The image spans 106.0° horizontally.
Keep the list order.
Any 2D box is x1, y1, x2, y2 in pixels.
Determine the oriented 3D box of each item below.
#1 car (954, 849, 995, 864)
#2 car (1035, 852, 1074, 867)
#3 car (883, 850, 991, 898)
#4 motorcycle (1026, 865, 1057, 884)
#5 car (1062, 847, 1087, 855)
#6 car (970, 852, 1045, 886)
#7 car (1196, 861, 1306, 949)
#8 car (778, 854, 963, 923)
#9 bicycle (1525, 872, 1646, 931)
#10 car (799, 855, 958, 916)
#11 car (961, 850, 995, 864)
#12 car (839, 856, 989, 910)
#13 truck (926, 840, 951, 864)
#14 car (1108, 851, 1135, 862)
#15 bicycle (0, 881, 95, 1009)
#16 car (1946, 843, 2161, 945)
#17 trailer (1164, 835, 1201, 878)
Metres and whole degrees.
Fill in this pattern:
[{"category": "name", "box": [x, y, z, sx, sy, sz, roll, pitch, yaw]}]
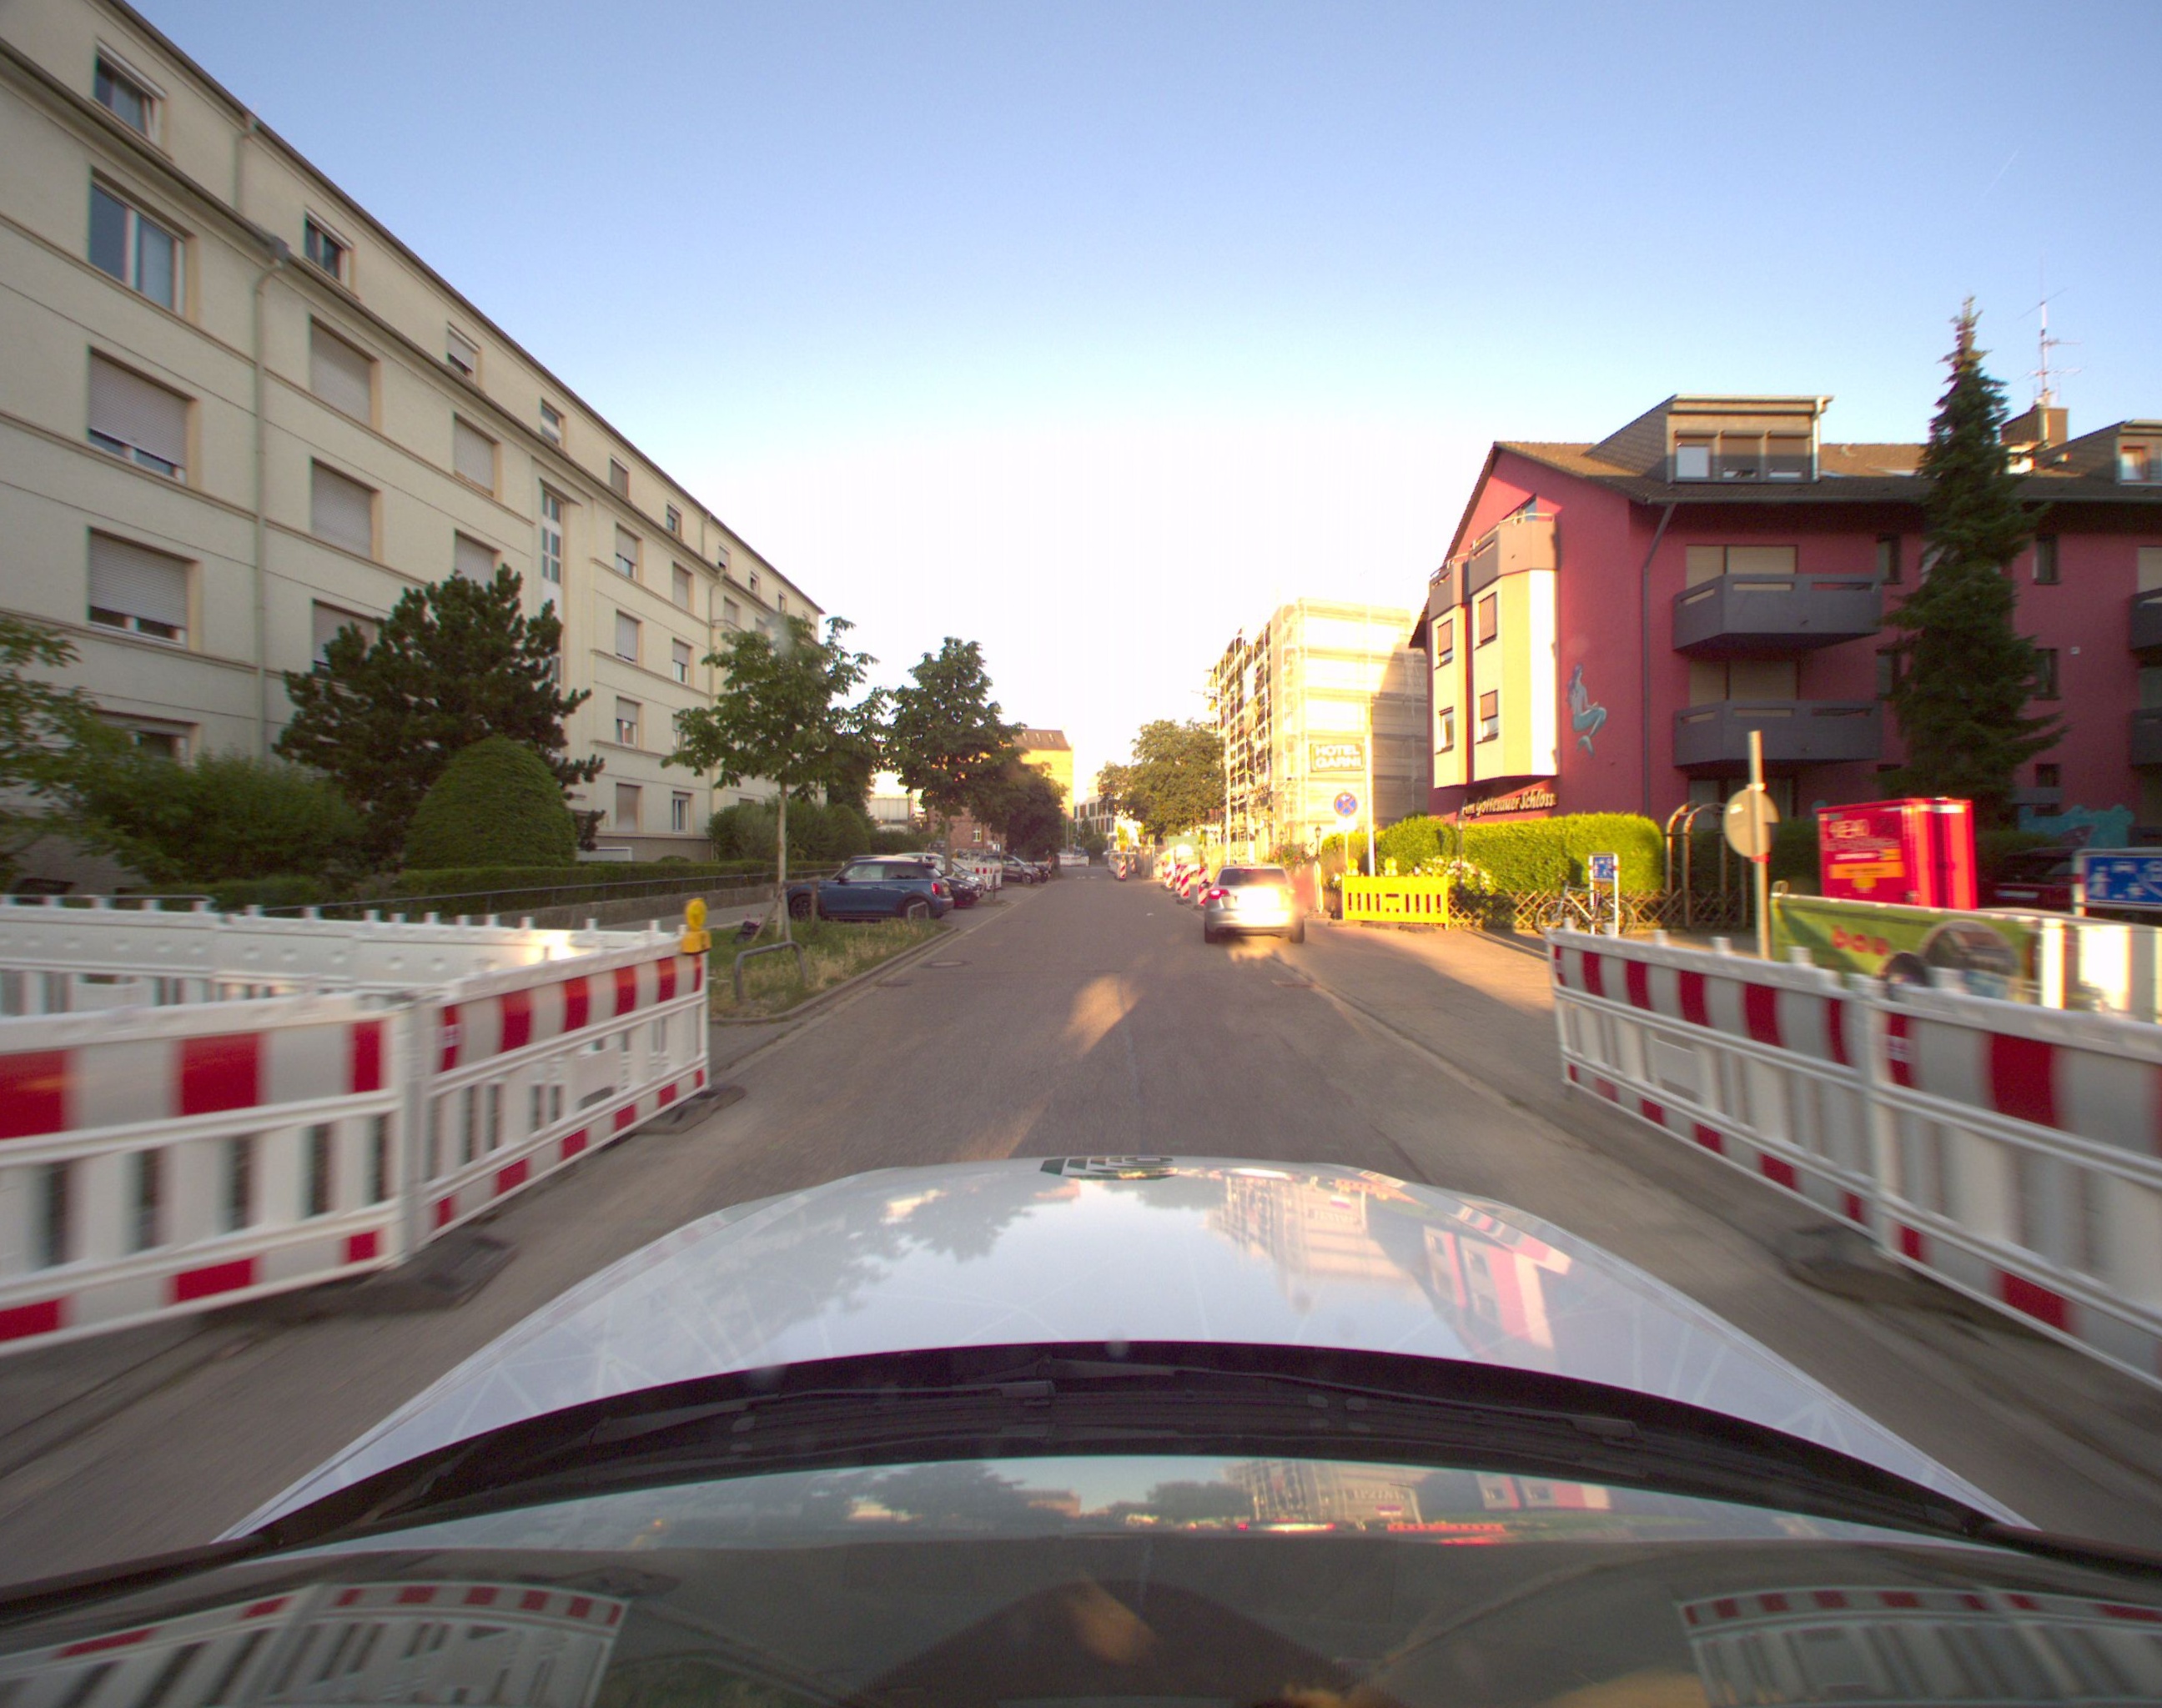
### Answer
[{"category": "car", "box": [-12.355, 0.306, 94.411, 4.592, 1.638, 1.567, -1, 0, -16]}, {"category": "car", "box": [-3.086, 0.626, 94.651, 4.280, 1.708, 1.692, -1, 0, -18]}, {"category": "car", "box": [-4.962, 0.682, 28.412, 3.465, 1.566, 1.726, 1, -1, -2]}, {"category": "motorcycle", "box": [-2.188, 1.118, 45.563, 0.532, 1.021, 2.225, 2, 0, 30]}, {"category": "car", "box": [-1.131, -0.582, 140.551, 3.997, 1.313, 1.866, -1, 0, -18]}, {"category": "car", "box": [-3.742, 0.752, 42.067, 3.611, 1.557, 1.693, 3, 0, 0]}, {"category": "car", "box": [3.368, 0.850, 15.555, 1.762, 1.397, 4.125, 0, 0, 16]}, {"category": "car", "box": [-4.709, 0.770, 18.570, 3.662, 1.445, 1.729, 1, -1, 3]}, {"category": "bicycle", "box": [9.264, 0.871, 14.999, 1.883, 1.069, 0.447, -1, 0, 7]}, {"category": "car", "box": [-5.240, 0.811, 21.411, 3.662, 1.484, 1.729, 1, -1, 3]}, {"category": "car", "box": [-11.705, 0.348, 92.381, 3.638, 1.503, 1.629, -1, 0, -16]}, {"category": "car", "box": [-4.861, 0.830, 24.035, 3.961, 1.489, 1.729, 1, -1, 3]}, {"category": "truck", "box": [-16.202, -0.221, 92.591, 2.338, 2.616, 4.946, 0, 0, -16]}, {"category": "car", "box": [6.048, 0.344, 121.798, 3.753, 1.603, 1.675, 0, 0, -20]}, {"category": "bicycle", "box": [-11.052, 0.867, 8.028, 2.021, 1.186, 0.541, 1, 0, 1]}, {"category": "car", "box": [17.404, 0.615, 13.598, 3.887, 1.567, 1.886, -1, 0, 1]}, {"category": "trailer", "box": [6.385, 0.137, 51.552, 1.986, 2.539, 4.188, 0, 0, 2]}]
